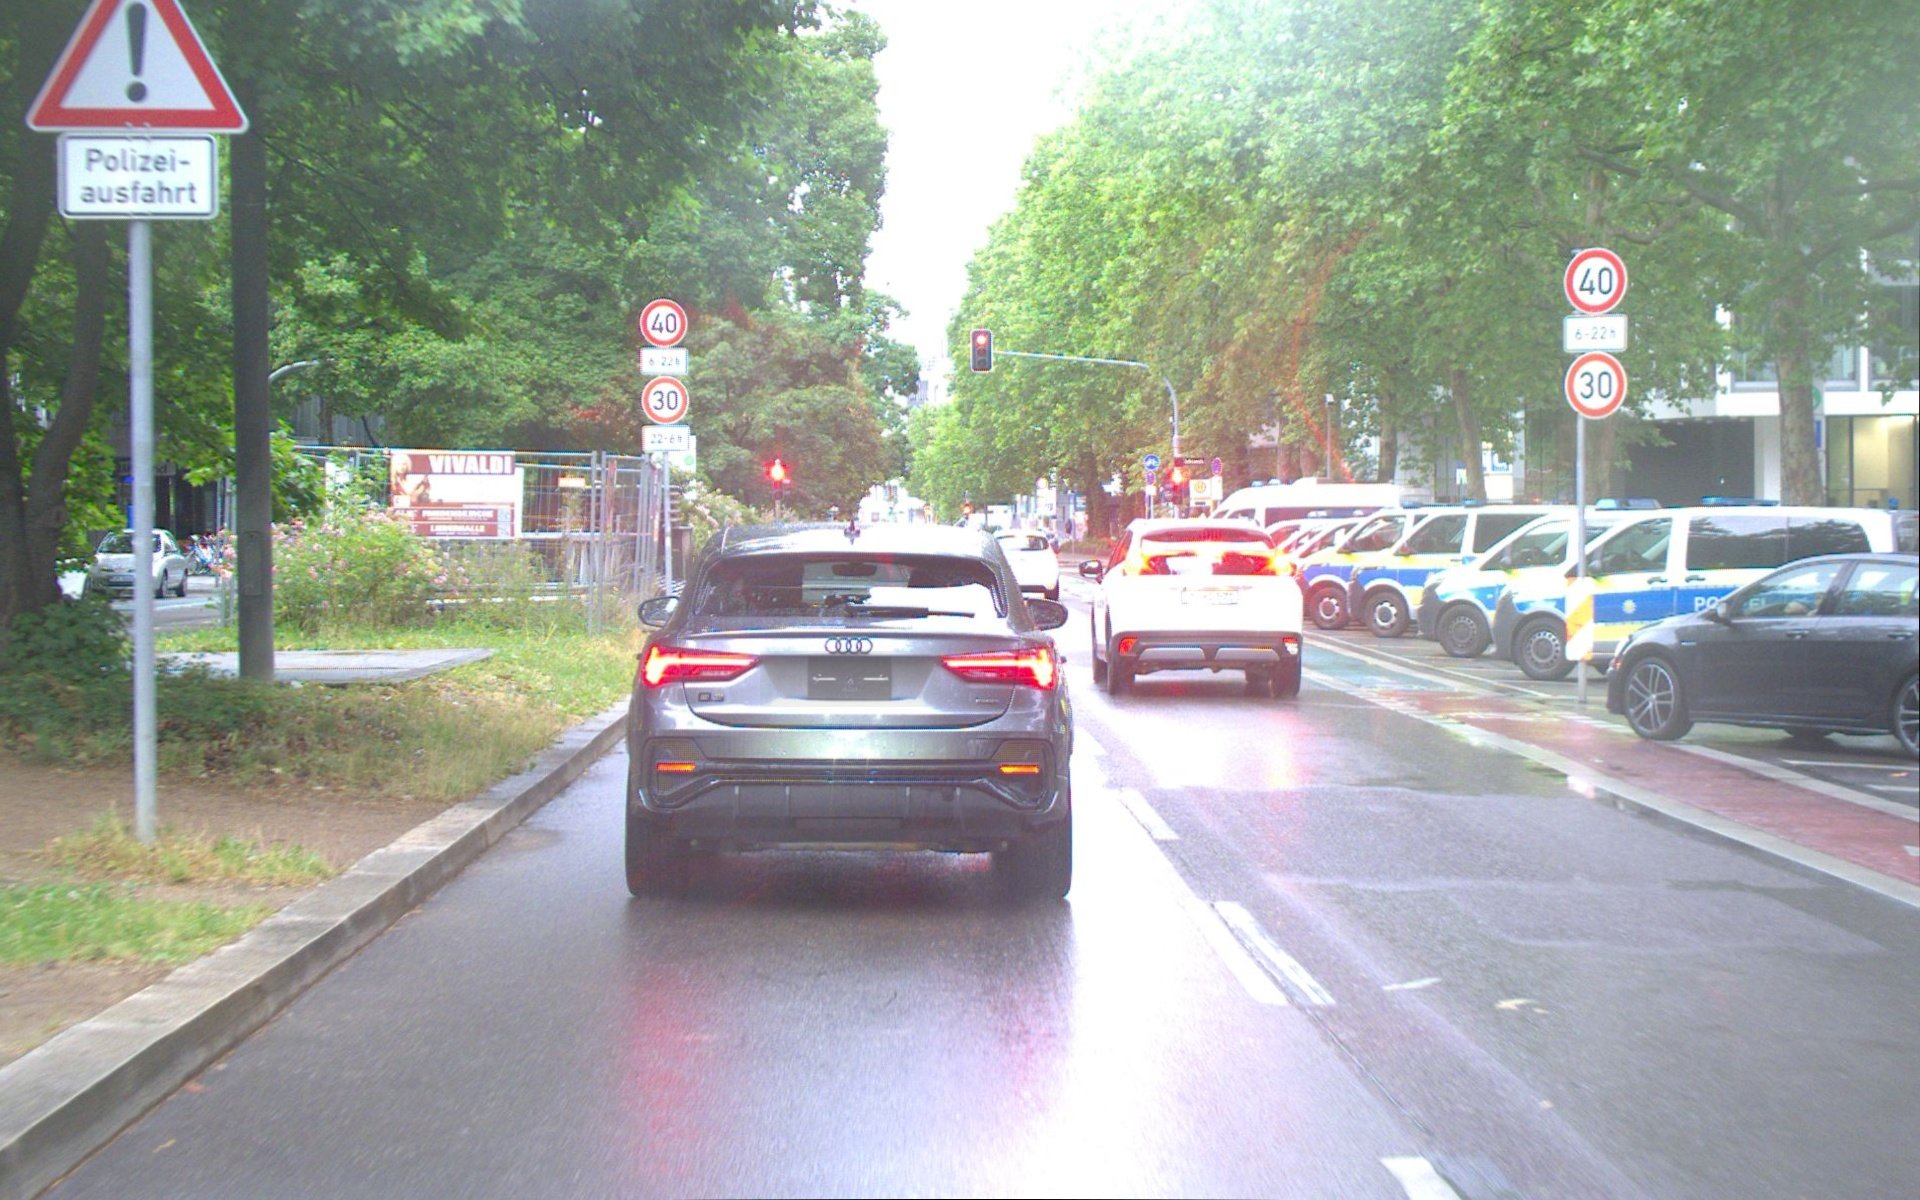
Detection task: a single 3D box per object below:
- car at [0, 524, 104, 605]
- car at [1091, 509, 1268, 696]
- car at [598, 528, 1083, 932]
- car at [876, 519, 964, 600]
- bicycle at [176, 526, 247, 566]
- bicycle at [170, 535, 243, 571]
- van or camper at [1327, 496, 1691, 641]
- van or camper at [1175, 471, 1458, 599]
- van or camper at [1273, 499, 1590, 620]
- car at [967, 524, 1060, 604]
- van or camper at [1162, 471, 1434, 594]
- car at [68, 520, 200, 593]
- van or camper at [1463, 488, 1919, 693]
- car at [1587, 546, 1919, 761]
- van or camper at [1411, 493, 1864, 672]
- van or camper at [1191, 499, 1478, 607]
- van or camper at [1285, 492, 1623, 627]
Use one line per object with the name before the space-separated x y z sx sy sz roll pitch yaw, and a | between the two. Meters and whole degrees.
car | -17.587 -0.686 64.369 1.993 1.365 4.540 2 1 -1
car | 2.041 -0.014 32.572 1.433 1.679 2.979 0 1 -1
car | -0.452 0.452 15.505 1.863 1.527 4.527 0 1 0
car | -0.831 -0.845 69.169 1.721 1.572 3.962 0 1 -1
bicycle | -20.227 -1.462 92.907 1.844 1.094 0.615 0 1 -9
bicycle | -20.233 -1.264 92.312 1.844 0.975 0.566 0 1 -4
van or camper | 7.886 -0.490 49.571 4.849 1.991 1.864 1 1 36
van or camper | 7.628 -1.407 73.906 5.804 2.671 1.996 1 1 35
van or camper | 8.212 -0.742 60.139 5.102 2.018 2.102 1 2 37
car | 1.176 -0.832 77.387 1.993 1.744 4.000 0 1 -1
van or camper | 7.575 -1.537 77.354 5.809 2.668 2.143 1 1 37
car | -17.955 -0.967 74.891 1.993 1.504 4.519 -1 1 -3
van or camper | 7.970 -0.143 36.104 4.942 1.985 1.998 2 1 37
car | 6.517 0.337 24.394 1.765 1.408 4.000 -1 2 -34
van or camper | 8.319 -0.255 42.463 5.082 2.012 1.993 2 2 36
van or camper | 7.304 -0.928 67.294 5.202 1.985 1.996 2 1 34
van or camper | 7.648 -0.649 53.399 4.789 2.004 1.996 1 1 35
